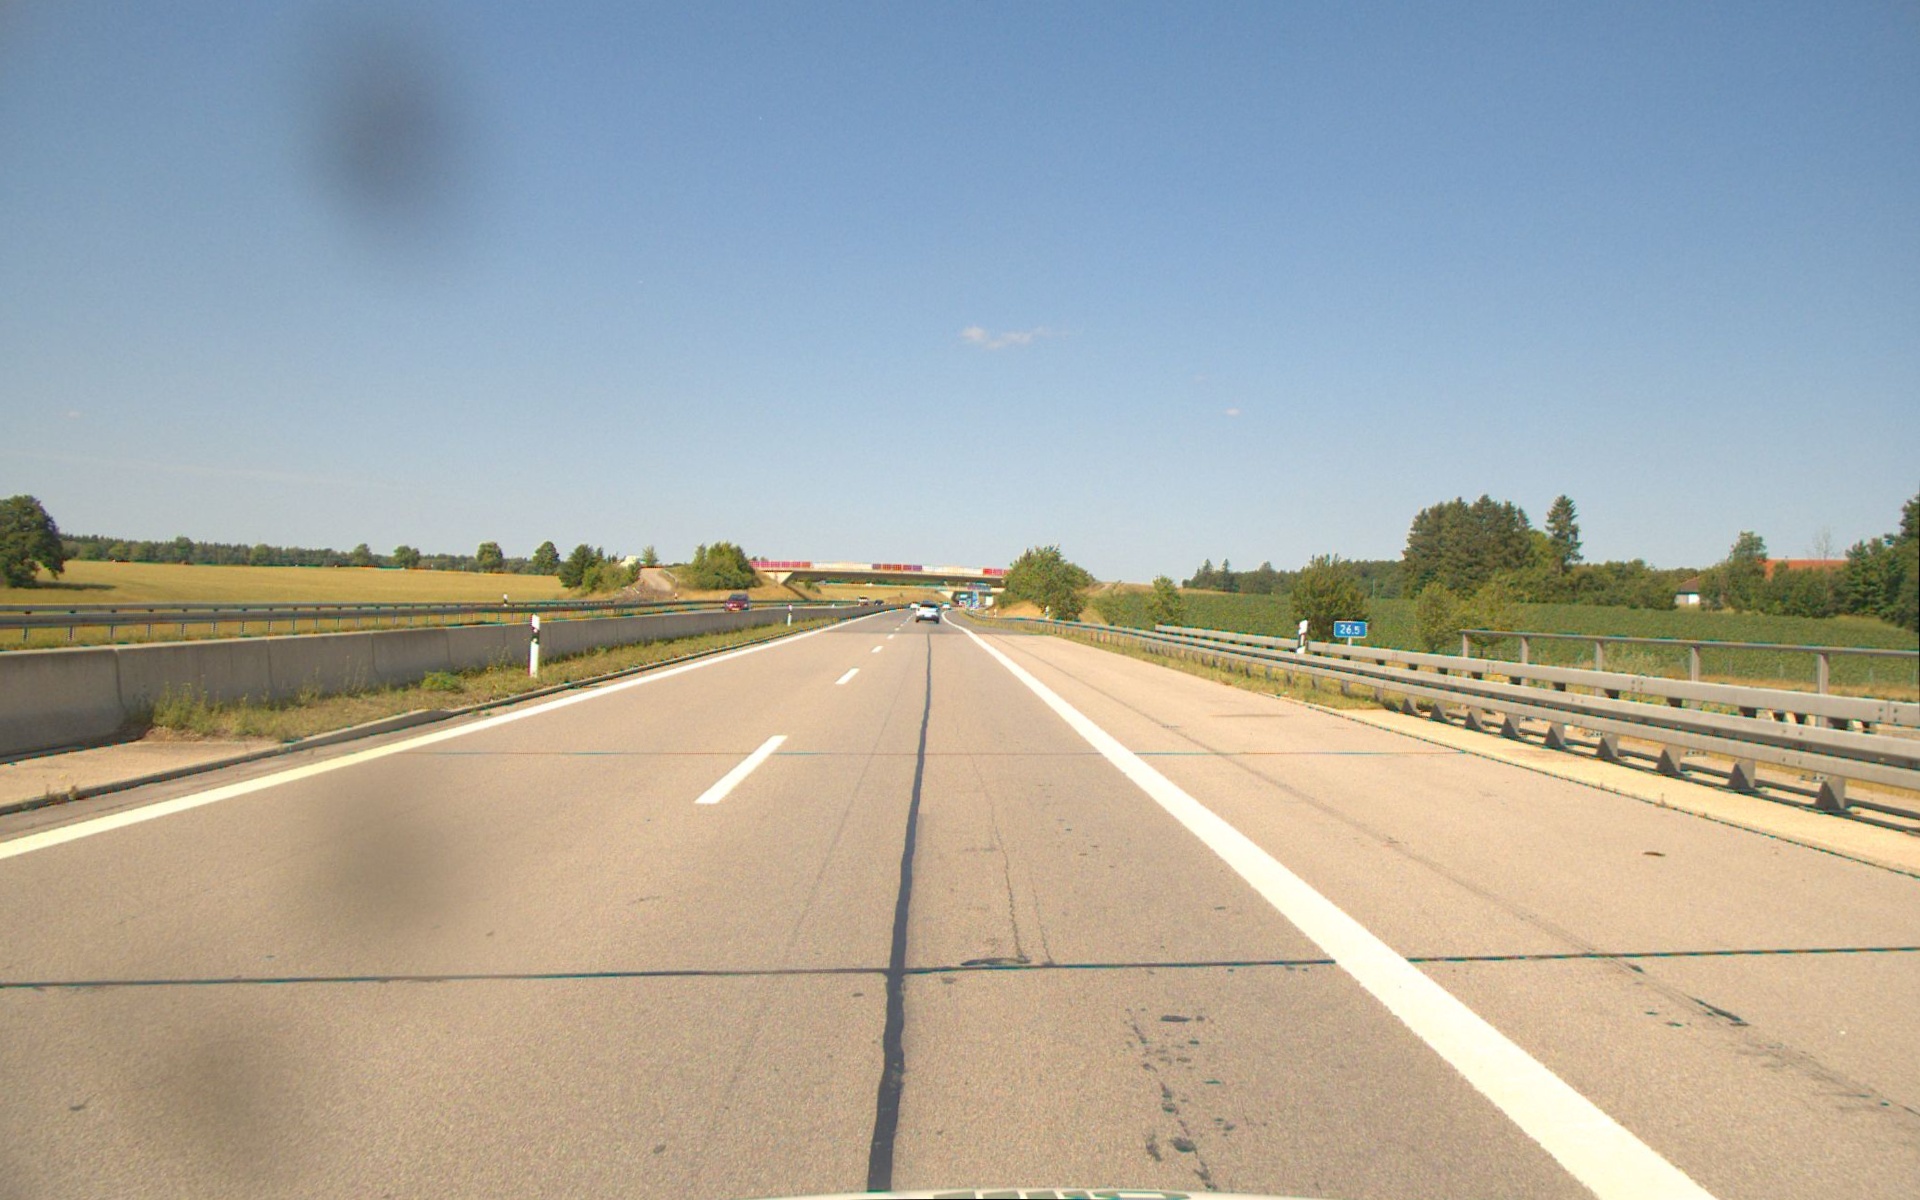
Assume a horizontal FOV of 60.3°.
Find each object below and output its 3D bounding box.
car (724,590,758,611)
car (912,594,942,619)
[{"bbox_3d":[-16.050,0.037,121.419,1.859,1.550,4.805,-1,0,-1],"label":"car"},{"bbox_3d":[-2.577,0.486,127.115,1.954,1.761,4.864,2,0,-5],"label":"car"}]
